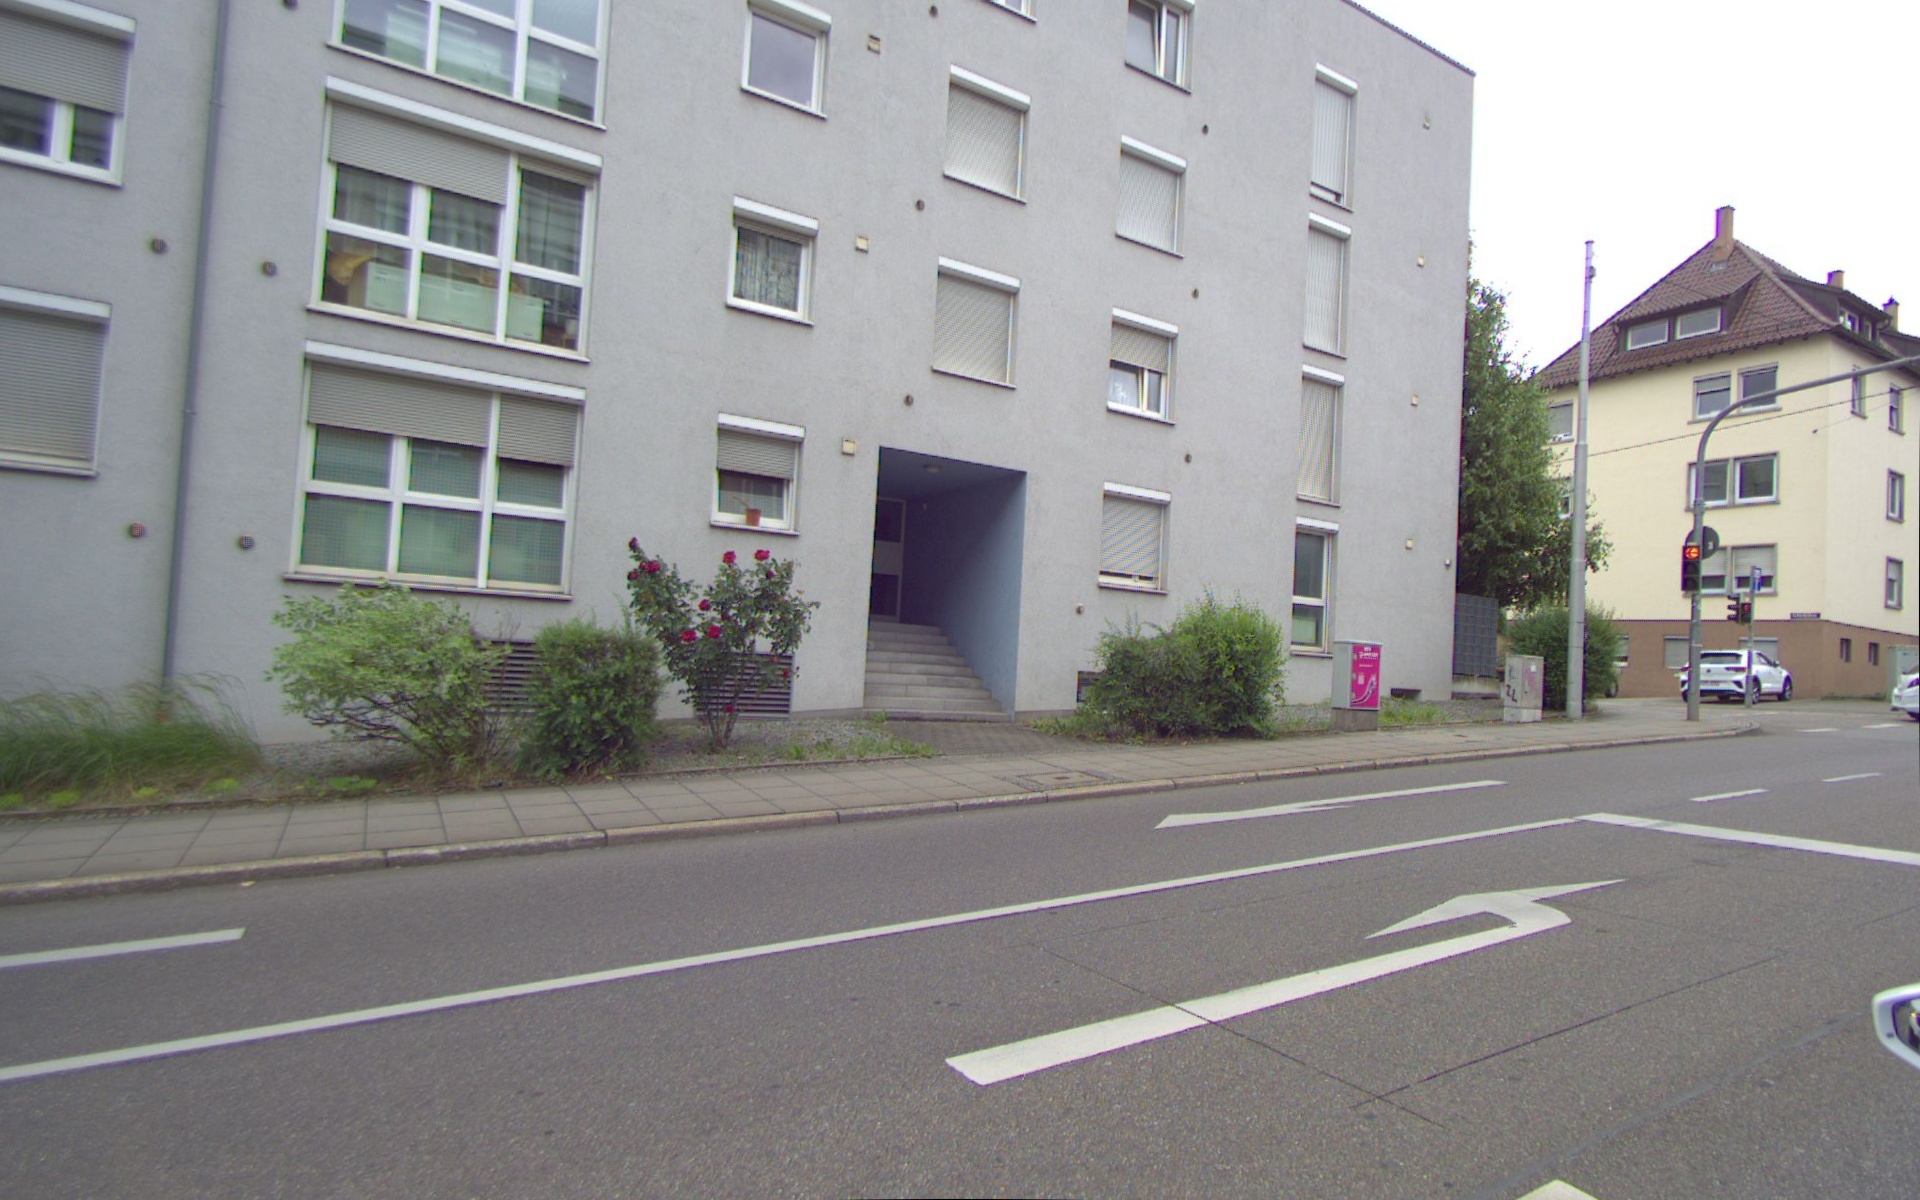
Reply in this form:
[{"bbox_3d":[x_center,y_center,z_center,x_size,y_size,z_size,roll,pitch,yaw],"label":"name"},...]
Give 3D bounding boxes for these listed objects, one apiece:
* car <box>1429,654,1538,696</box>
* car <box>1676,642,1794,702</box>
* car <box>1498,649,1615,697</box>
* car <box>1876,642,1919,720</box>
[{"bbox_3d":[19.076,2.694,36.564,3.953,1.380,1.662,2,-1,-30],"label":"car"},{"bbox_3d":[23.254,2.132,30.097,3.960,1.683,1.660,2,-4,-35],"label":"car"},{"bbox_3d":[20.433,2.479,34.385,4.053,1.566,1.662,2,-4,-30],"label":"car"},{"bbox_3d":[21.742,1.760,20.808,3.822,1.572,1.689,2,0,33],"label":"car"}]
